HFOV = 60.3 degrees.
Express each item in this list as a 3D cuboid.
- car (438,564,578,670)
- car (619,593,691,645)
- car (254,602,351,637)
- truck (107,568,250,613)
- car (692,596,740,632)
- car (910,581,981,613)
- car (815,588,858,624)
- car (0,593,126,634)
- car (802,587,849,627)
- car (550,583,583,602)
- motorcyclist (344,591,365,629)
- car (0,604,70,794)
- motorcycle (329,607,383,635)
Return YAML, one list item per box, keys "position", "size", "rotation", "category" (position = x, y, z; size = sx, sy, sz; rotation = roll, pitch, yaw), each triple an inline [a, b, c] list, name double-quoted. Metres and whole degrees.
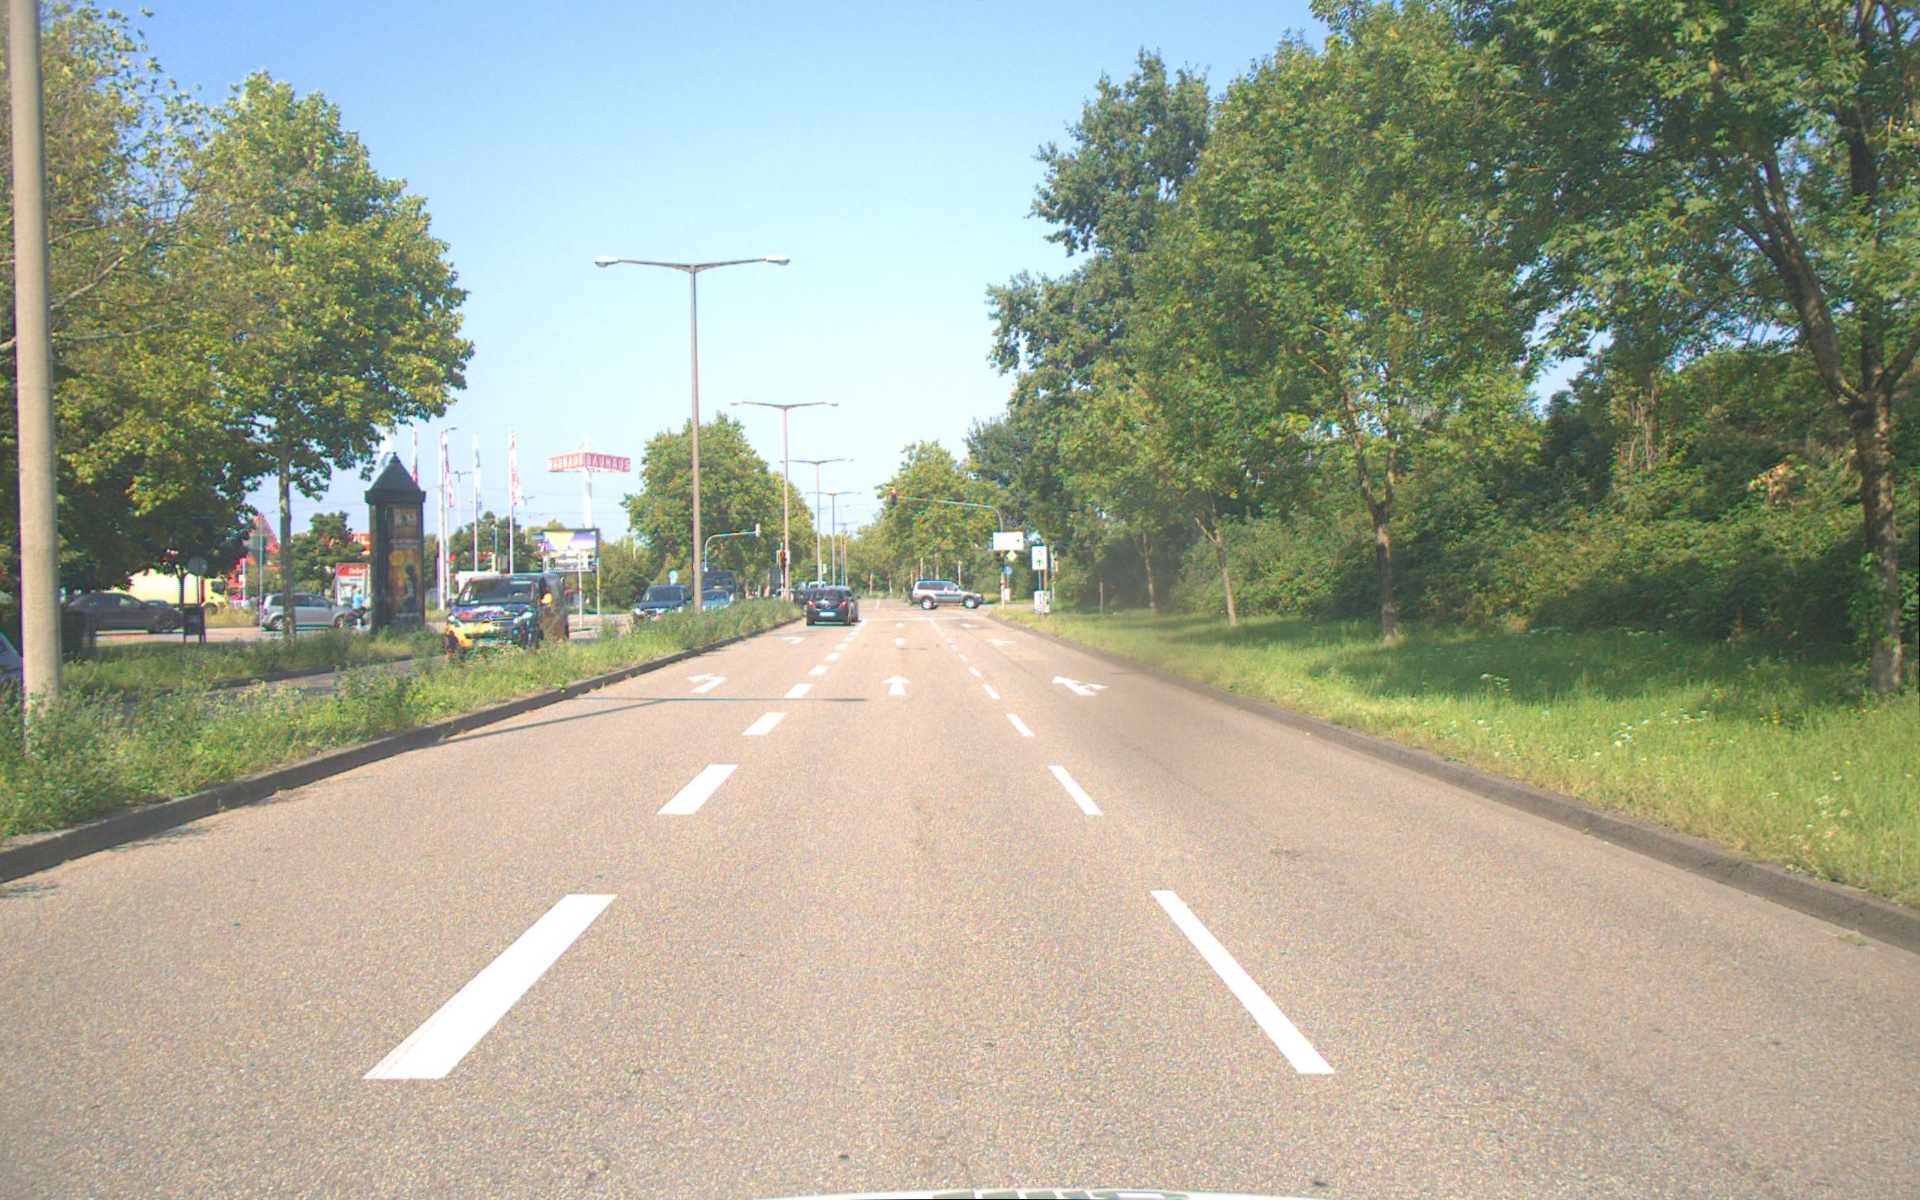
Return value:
- position: [-9.529, 0.327, 35.231]
  size: [1.893, 2.063, 4.564]
  rotation: [-1, 0, -3]
  category: "car"
- position: [-10.646, 0.647, 57.965]
  size: [1.954, 1.736, 4.501]
  rotation: [0, 0, -4]
  category: "car"
- position: [-28.654, 0.828, 72.109]
  size: [3.665, 1.468, 1.446]
  rotation: [0, 0, -39]
  category: "car"
- position: [-57.438, -0.696, 121.696]
  size: [8.924, 3.009, 3.466]
  rotation: [-2, 0, -39]
  category: "truck"
- position: [-11.233, 0.612, 76.363]
  size: [1.737, 1.601, 3.998]
  rotation: [0, 0, -2]
  category: "car"
- position: [-0.888, -0.189, 104.622]
  size: [4.175, 1.868, 1.914]
  rotation: [-1, 0, 11]
  category: "car"
- position: [-5.347, 0.241, 71.959]
  size: [1.658, 1.512, 3.998]
  rotation: [-2, 0, -2]
  category: "car"
- position: [-35.595, 0.514, 65.595]
  size: [4.271, 1.606, 1.549]
  rotation: [0, 0, -41]
  category: "car"
- position: [-5.317, 0.267, 65.917]
  size: [1.658, 1.512, 3.998]
  rotation: [-2, 0, -2]
  category: "car"
- position: [-43.686, -0.850, 183.658]
  size: [1.951, 2.049, 4.295]
  rotation: [0, 0, 10]
  category: "car"
- position: [-25.894, 0.422, 70.777]
  size: [0.677, 1.599, 0.674]
  rotation: [0, 0, -38]
  category: "motorcyclist"
- position: [-8.465, 0.797, 12.571]
  size: [1.643, 1.512, 3.490]
  rotation: [0, 0, -3]
  category: "car"
- position: [-25.857, 0.886, 70.797]
  size: [2.055, 1.156, 0.668]
  rotation: [-1, 0, -38]
  category: "motorcycle"
